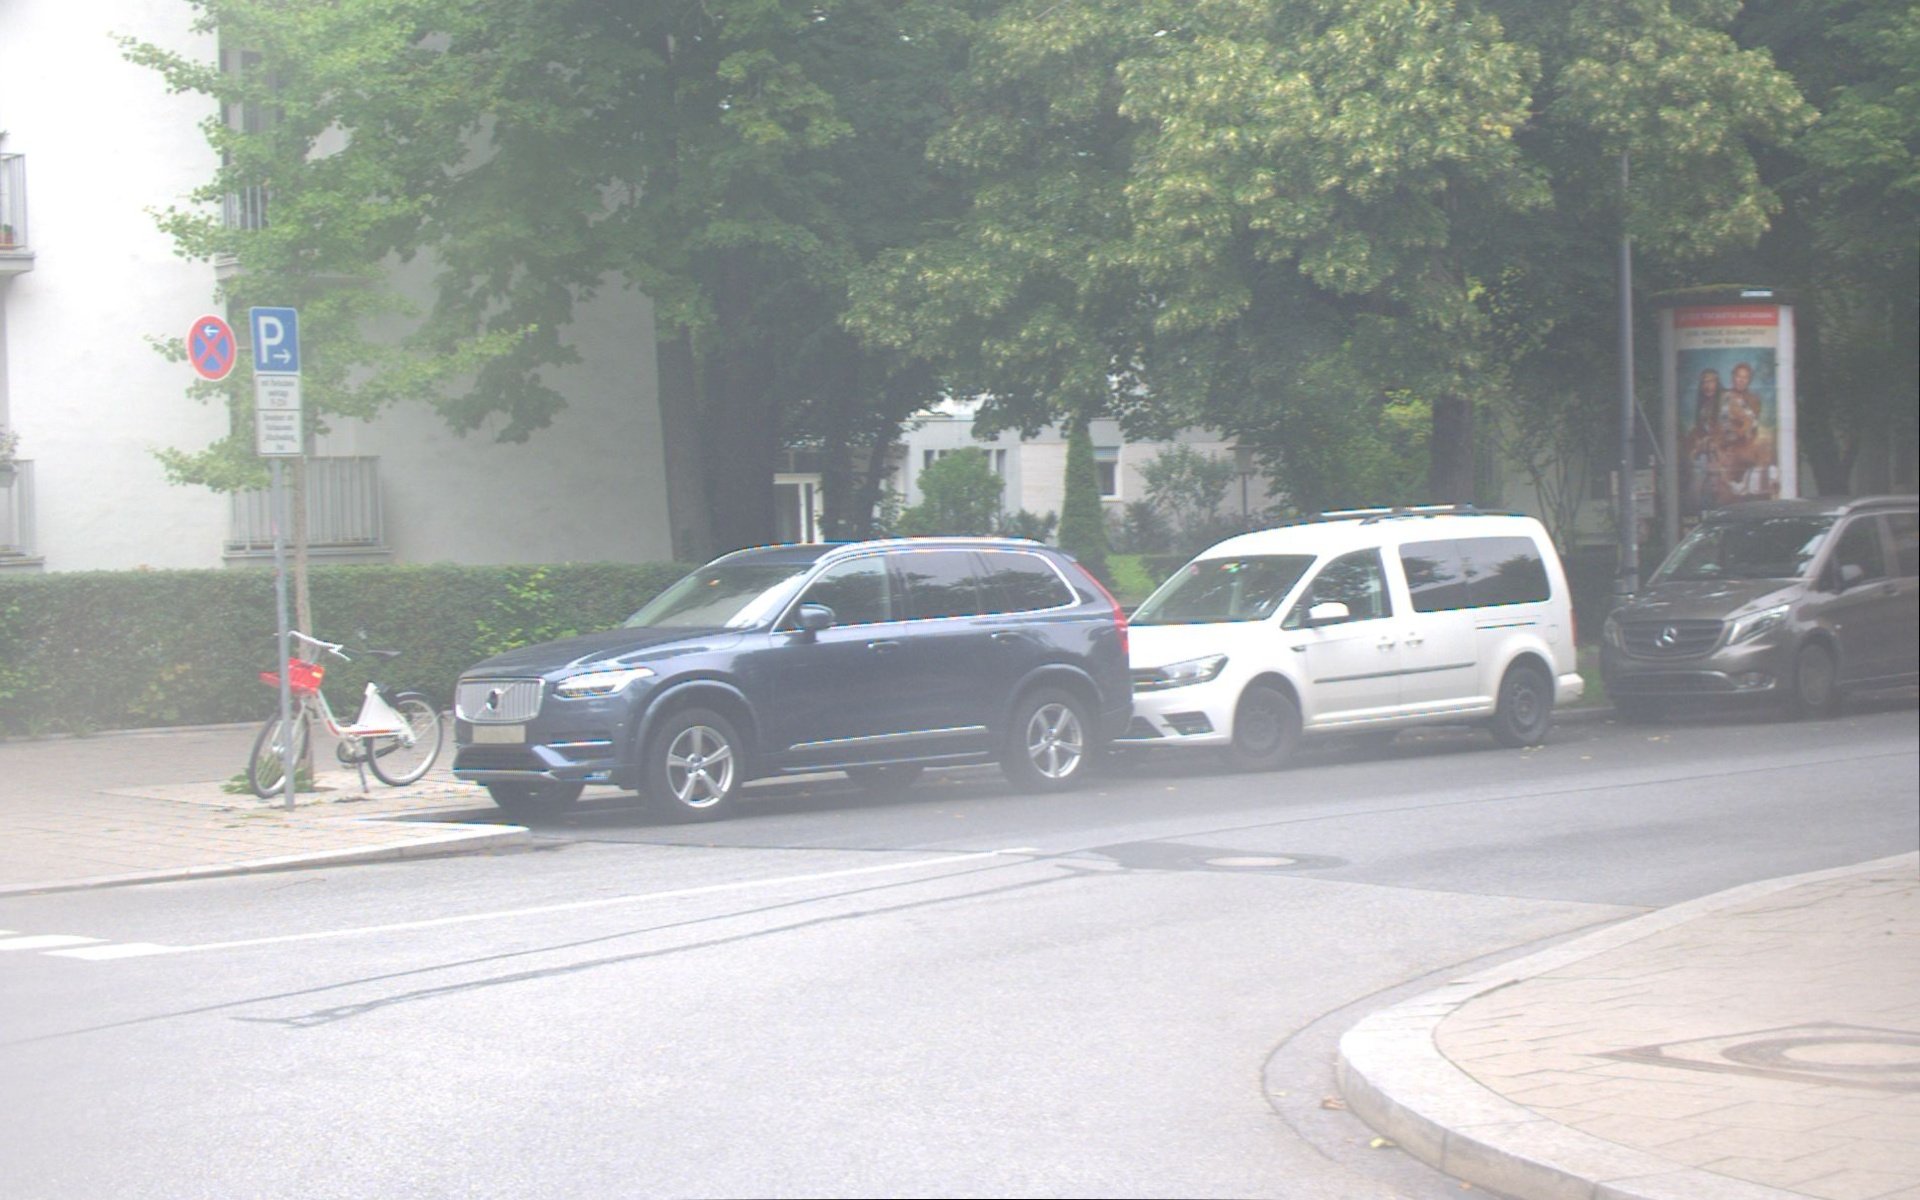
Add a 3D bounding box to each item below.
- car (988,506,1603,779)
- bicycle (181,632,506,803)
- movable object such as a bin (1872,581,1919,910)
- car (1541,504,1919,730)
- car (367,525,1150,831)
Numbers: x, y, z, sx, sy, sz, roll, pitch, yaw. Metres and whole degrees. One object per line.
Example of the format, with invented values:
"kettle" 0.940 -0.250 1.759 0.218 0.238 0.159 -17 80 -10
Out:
"car" 2.659 0.251 26.381 4.854 1.888 1.931 -2 1 -43
"bicycle" -4.163 0.771 23.289 1.966 1.048 0.913 -1 1 -41
"movable object such as a bin" 4.315 0.532 13.168 1.083 1.263 1.081 -2 -1 -29
"car" 7.614 0.088 30.817 4.972 1.852 2.071 -2 1 -42
"car" -1.231 0.426 22.639 4.893 1.761 2.071 -2 1 -42
